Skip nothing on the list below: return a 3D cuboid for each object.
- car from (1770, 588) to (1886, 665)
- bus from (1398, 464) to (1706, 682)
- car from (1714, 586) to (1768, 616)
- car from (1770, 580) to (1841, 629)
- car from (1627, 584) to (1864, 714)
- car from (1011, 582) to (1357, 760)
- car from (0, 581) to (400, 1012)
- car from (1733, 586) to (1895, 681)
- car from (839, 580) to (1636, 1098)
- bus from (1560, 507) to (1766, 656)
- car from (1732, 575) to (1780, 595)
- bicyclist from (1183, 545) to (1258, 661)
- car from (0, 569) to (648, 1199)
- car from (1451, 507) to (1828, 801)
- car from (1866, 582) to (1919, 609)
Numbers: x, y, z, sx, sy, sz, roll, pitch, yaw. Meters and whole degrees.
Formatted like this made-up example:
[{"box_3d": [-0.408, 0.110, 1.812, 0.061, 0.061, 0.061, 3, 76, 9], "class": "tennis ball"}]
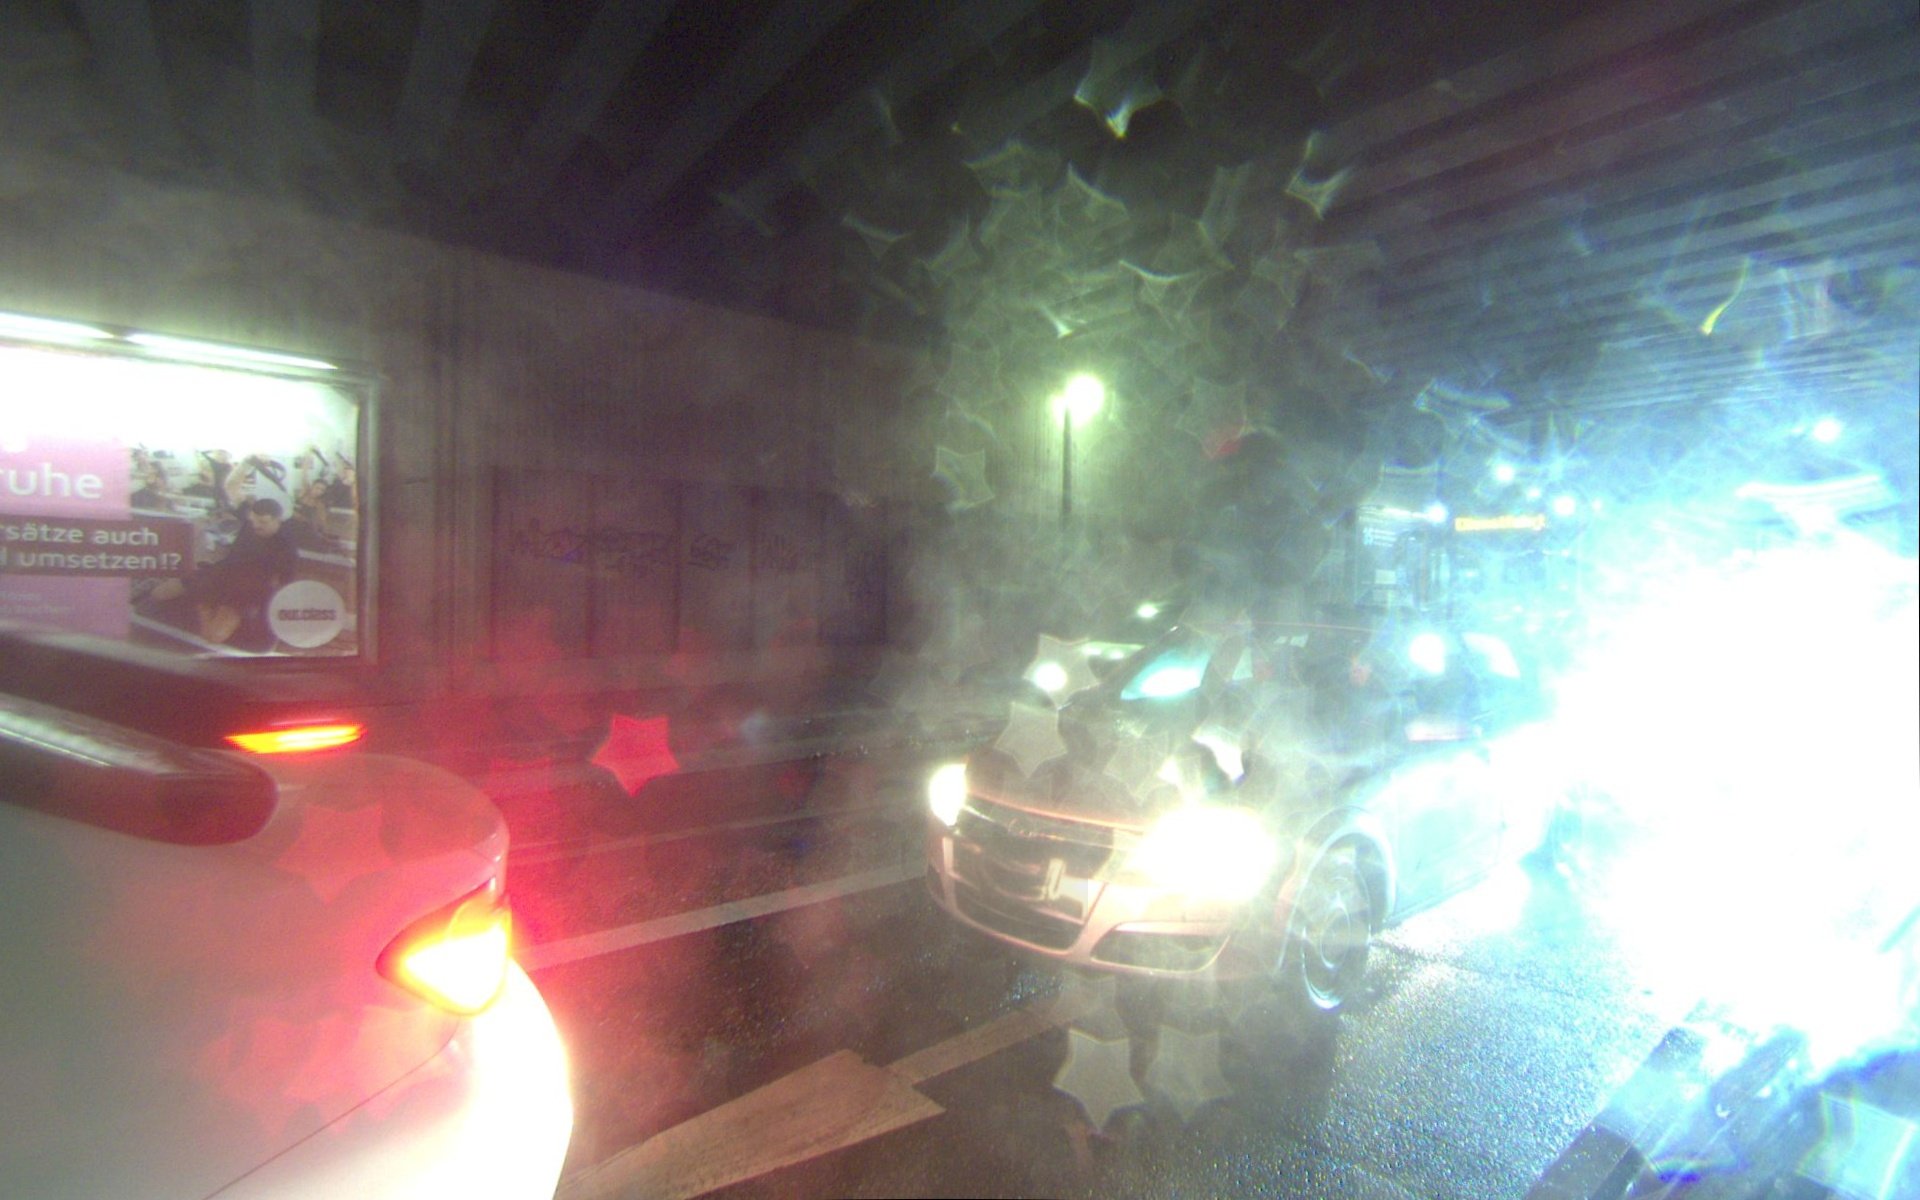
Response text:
[{"box_3d": [18.751, 0.502, 21.797, 1.678, 1.490, 3.937, 0, 0, 44], "class": "car"}, {"box_3d": [11.560, -0.394, 19.129, 2.770, 3.163, 9.604, 0, 0, 45], "class": "bus"}, {"box_3d": [41.318, 0.036, 53.640, 1.868, 1.490, 3.954, 0, 0, 32], "class": "car"}, {"box_3d": [29.405, 0.133, 35.150, 1.737, 1.610, 3.939, 0, 0, 42], "class": "car"}, {"box_3d": [10.747, 0.553, 13.776, 3.701, 1.531, 1.867, -1, 0, -41], "class": "car"}, {"box_3d": [2.403, 0.570, 10.300, 1.751, 1.449, 3.700, 2, 1, 44], "class": "car"}, {"box_3d": [-4.490, 0.630, 3.168, 1.752, 1.408, 4.492, 0, 0, 44], "class": "car"}, {"box_3d": [15.355, 0.513, 18.138, 3.930, 1.522, 1.628, -1, 0, -41], "class": "car"}, {"box_3d": [1.564, 0.637, 4.809, 3.931, 1.384, 1.791, -2, 2, -41], "class": "car"}, {"box_3d": [18.285, -0.394, 25.955, 2.770, 3.163, 9.604, 0, 0, 45], "class": "bus"}, {"box_3d": [66.964, -1.253, 85.253, 1.799, 1.625, 4.120, 0, 0, 17], "class": "car"}, {"box_3d": [4.157, 0.034, 16.159, 0.885, 1.784, 0.798, 0, 0, -41], "class": "bicyclist"}, {"box_3d": [-2.693, 0.686, 0.960, 4.273, 1.422, 1.719, -1, 0, -41], "class": "car"}, {"box_3d": [6.482, 0.362, 9.454, 4.274, 2.115, 1.996, -1, 0, -43], "class": "car"}, {"box_3d": [59.517, -0.292, 63.927, 1.973, 1.626, 3.977, 0, 0, 18], "class": "car"}]
